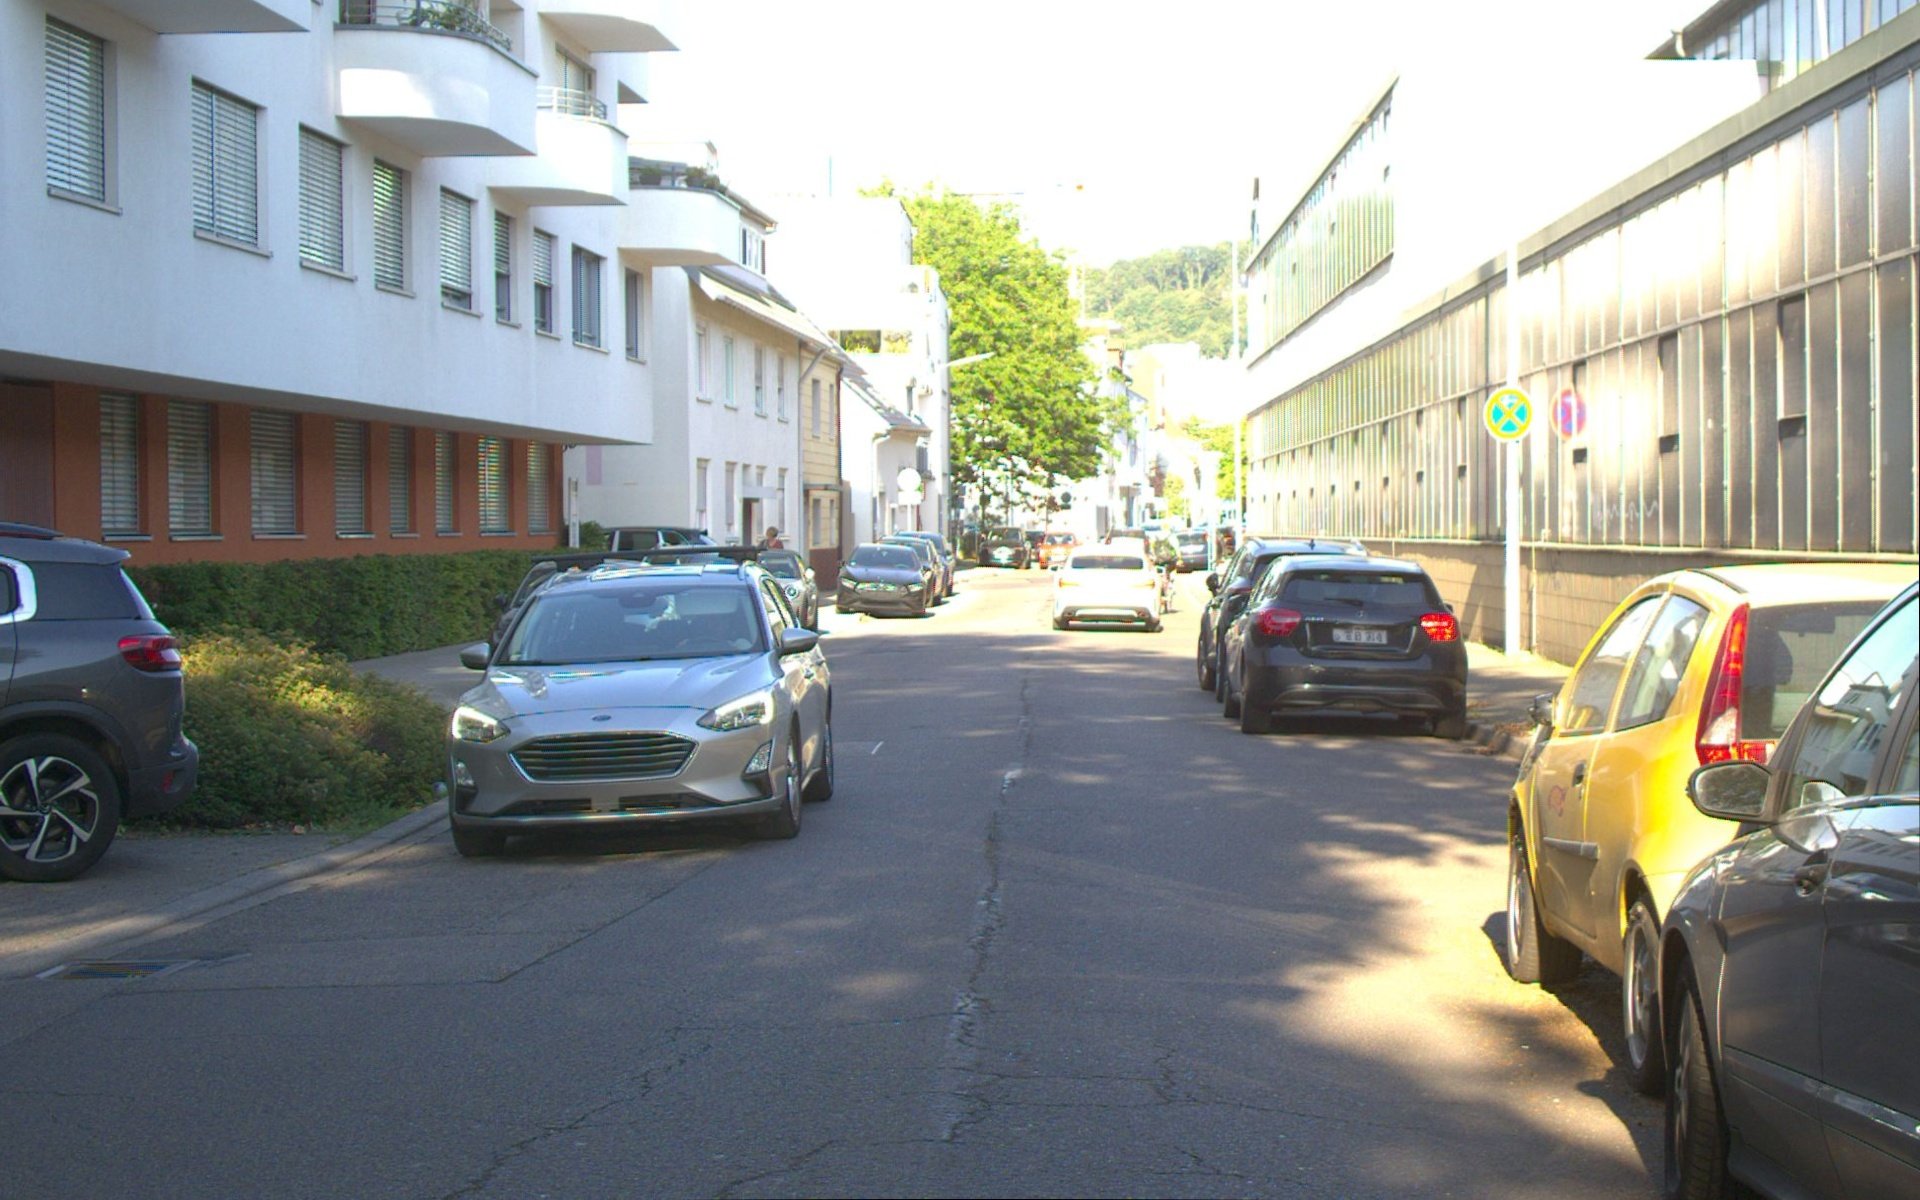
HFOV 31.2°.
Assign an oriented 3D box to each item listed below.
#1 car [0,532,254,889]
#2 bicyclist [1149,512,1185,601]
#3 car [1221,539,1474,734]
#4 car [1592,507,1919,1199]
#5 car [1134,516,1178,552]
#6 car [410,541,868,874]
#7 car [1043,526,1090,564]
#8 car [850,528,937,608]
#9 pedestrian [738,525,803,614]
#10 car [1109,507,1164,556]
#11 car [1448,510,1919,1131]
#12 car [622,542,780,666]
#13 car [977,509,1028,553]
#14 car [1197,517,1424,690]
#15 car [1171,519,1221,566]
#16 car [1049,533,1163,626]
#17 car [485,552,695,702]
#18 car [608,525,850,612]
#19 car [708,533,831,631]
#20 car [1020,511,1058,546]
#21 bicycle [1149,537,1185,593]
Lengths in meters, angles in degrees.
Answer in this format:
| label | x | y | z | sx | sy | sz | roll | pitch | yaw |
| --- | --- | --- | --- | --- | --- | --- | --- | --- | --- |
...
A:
| label | x | y | z | sx | sy | sz | roll | pitch | yaw |
| --- | --- | --- | --- | --- | --- | --- | --- | --- | --- |
| car | -5.536 | 0.515 | 16.398 | 3.946 | 1.656 | 1.700 | -1 | 1 | -25 |
| bicyclist | 4.210 | -0.883 | 69.837 | 0.698 | 1.784 | 1.040 | 0 | 1 | 4 |
| car | 3.176 | 0.244 | 28.936 | 1.750 | 1.486 | 4.621 | 1 | 1 | 2 |
| car | 2.419 | 0.645 | 6.537 | 1.750 | 1.629 | 4.309 | 0 | 1 | 2 |
| car | 8.374 | -2.830 | 147.137 | 1.842 | 1.486 | 4.144 | 0 | 1 | 3 |
| car | -1.656 | 0.495 | 19.370 | 1.900 | 1.531 | 4.621 | -3 | 1 | 2 |
| car | 4.283 | -2.218 | 137.804 | 1.842 | 1.486 | 4.144 | 0 | 1 | 2 |
| car | -1.334 | -0.662 | 69.321 | 1.684 | 1.530 | 4.335 | 1 | 1 | -1 |
| pedestrian | -3.954 | -0.641 | 71.780 | 0.862 | 1.812 | 1.130 | 3 | 2 | 26 |
| car | 6.609 | -2.579 | 129.054 | 1.853 | 1.785 | 4.607 | 0 | 2 | 1 |
| car | 2.739 | 0.543 | 11.023 | 1.750 | 1.629 | 4.002 | 0 | 1 | 0 |
| car | -3.497 | 0.014 | 47.141 | 1.857 | 1.581 | 4.622 | 1 | 1 | -1 |
| car | 1.778 | -2.896 | 143.128 | 1.853 | 1.785 | 4.607 | 0 | 2 | 4 |
| car | 3.410 | -0.002 | 34.152 | 1.807 | 1.581 | 4.405 | 1 | 1 | 0 |
| car | 8.619 | -2.117 | 125.747 | 1.629 | 1.581 | 4.069 | -4 | 1 | 3 |
| car | 2.424 | -0.366 | 57.688 | 1.842 | 1.486 | 4.144 | 0 | 1 | 2 |
| car | -3.747 | 0.237 | 35.333 | 1.674 | 1.428 | 3.771 | 1 | 1 | 1 |
| car | -4.235 | -0.586 | 63.474 | 4.320 | 1.530 | 1.690 | 1 | 1 | 1 |
| car | -3.092 | -0.315 | 56.486 | 1.667 | 1.530 | 3.857 | 1 | 1 | 2 |
| car | 3.735 | -3.373 | 161.725 | 1.704 | 1.570 | 3.914 | 0 | 2 | 3 |
| bicycle | 4.216 | -0.721 | 69.910 | 0.698 | 1.126 | 2.402 | 0 | 1 | 4 |
